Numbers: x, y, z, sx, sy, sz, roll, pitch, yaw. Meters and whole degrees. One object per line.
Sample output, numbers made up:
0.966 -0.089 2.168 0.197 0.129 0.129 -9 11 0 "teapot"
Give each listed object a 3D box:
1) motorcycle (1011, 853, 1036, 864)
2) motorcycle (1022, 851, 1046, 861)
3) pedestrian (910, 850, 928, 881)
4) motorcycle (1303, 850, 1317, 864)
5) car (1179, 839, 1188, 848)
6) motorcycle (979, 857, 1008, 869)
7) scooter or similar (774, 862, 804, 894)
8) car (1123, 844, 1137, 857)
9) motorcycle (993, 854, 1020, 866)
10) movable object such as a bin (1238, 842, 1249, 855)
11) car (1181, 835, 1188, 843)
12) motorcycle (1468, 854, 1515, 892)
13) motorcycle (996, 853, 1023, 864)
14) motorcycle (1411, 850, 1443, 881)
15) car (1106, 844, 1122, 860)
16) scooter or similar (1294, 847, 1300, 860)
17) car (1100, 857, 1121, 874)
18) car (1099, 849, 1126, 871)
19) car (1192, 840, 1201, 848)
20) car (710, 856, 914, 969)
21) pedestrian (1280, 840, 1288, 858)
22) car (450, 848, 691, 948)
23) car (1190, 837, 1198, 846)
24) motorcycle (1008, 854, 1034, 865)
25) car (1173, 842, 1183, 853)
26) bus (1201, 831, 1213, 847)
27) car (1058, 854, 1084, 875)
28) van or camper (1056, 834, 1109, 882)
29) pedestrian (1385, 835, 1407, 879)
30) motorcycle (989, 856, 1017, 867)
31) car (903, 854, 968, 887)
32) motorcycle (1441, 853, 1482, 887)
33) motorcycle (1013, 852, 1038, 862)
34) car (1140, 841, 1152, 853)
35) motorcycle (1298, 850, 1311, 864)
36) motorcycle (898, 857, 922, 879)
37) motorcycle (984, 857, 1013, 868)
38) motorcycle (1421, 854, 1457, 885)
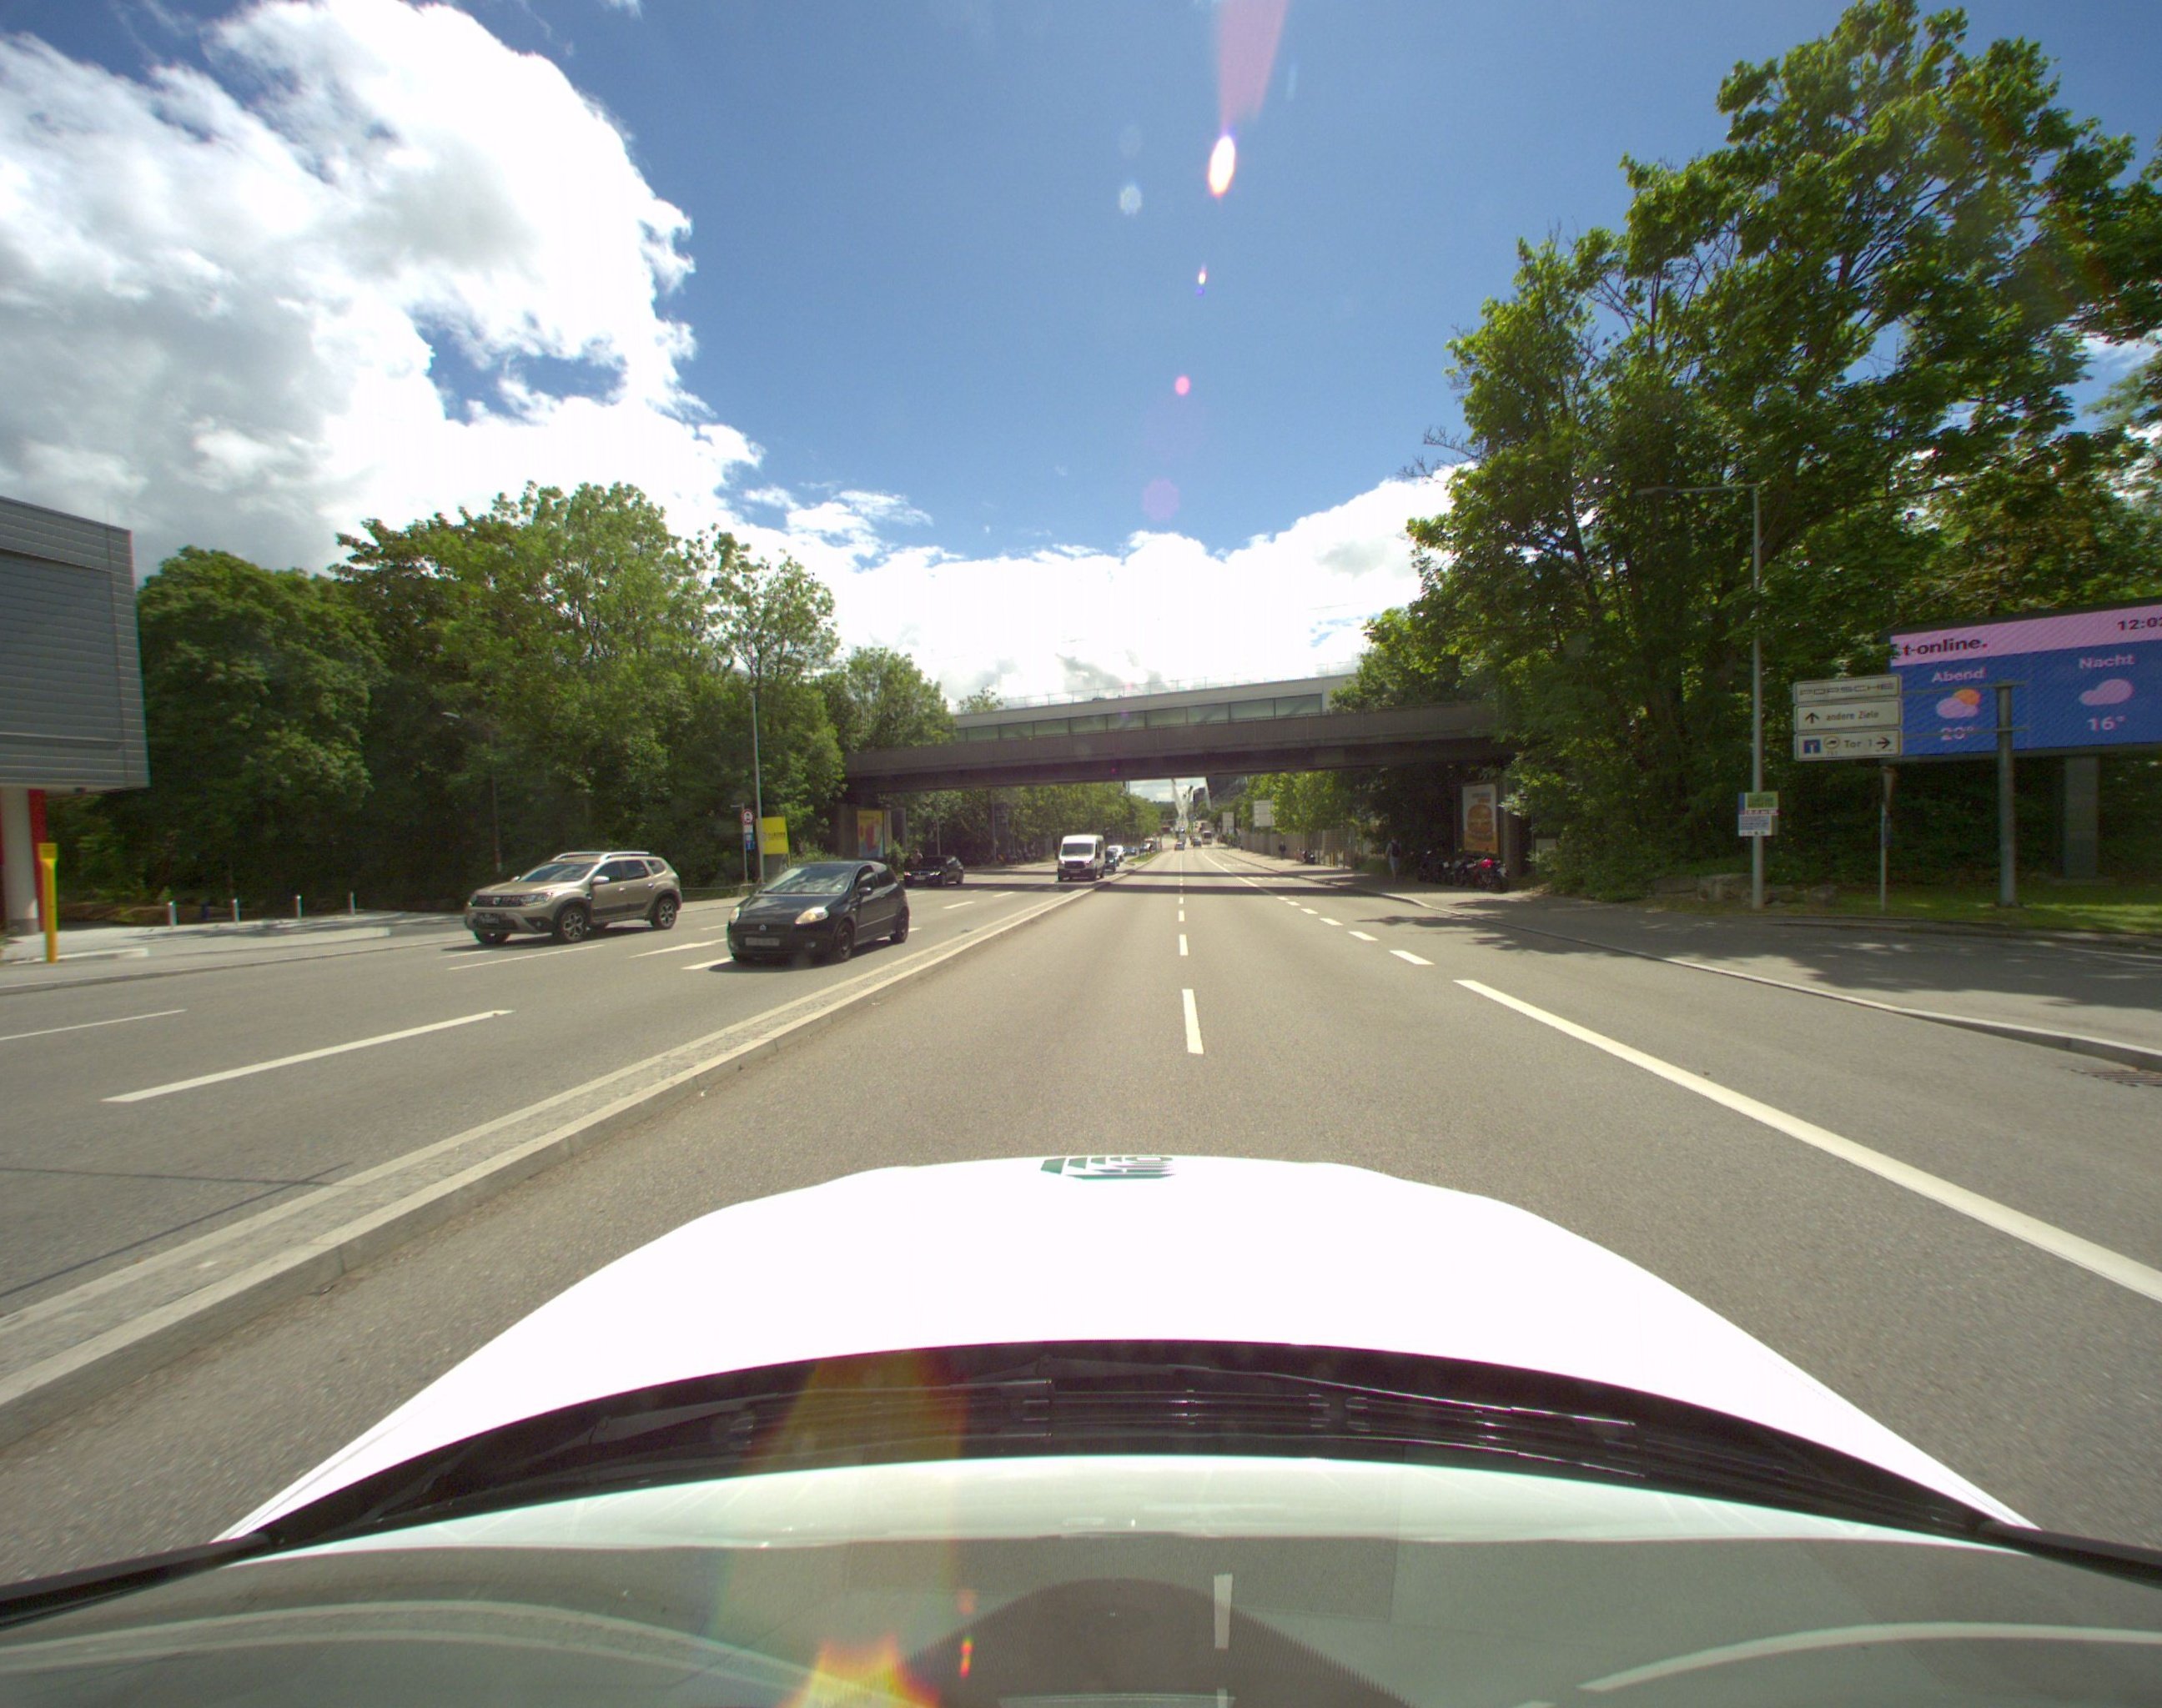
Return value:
-6.140 0.480 86.800 2.556 1.107 0.798 -1 0 18 "motorcycle"
-5.253 0.258 91.566 2.556 1.107 0.798 -1 0 18 "motorcycle"
-8.869 0.607 44.533 0.721 1.622 0.722 3 4 5 "pedestrian"
17.556 0.224 62.450 0.560 1.029 2.634 -3 1 6 "motorcycle"
23.600 -2.432 187.086 1.848 1.705 4.009 -2 6 6 "car"
-8.079 0.809 75.409 2.534 1.050 0.676 -1 0 12 "motorcycle"
-11.738 0.944 32.740 0.608 1.211 1.263 -2 0 6 "scooter or similar"
7.016 -0.511 116.746 1.692 1.698 3.932 -1 0 7 "car"
-7.208 0.592 78.926 2.534 1.050 0.676 -1 0 12 "motorcycle"
27.029 -0.857 135.510 1.653 2.132 1.282 -1 0 12 "movable object such as a bin"
28.938 -4.210 227.868 1.864 2.012 3.701 -2 4 6 "car"
12.814 0.575 25.497 0.544 1.110 2.020 -2 0 4 "motorcycle"
-7.063 0.477 80.336 2.534 1.050 0.676 -1 0 12 "motorcycle"
13.890 0.435 32.726 0.544 1.198 1.905 -2 0 4 "motorcycle"
3.671 -0.201 90.331 1.693 1.698 3.928 -1 0 4 "car"
19.210 -0.046 72.480 0.366 1.177 1.135 -1 0 6 "scooter or similar"
2.686 1.021 73.353 1.693 1.436 3.928 -1 0 4 "car"
2.311 0.420 59.721 1.691 1.521 3.080 -1 0 7 "car"
26.350 -2.333 186.114 1.983 1.859 4.007 -2 0 6 "car"
-4.060 0.811 12.975 1.629 1.471 3.782 -1 1 6 "car"
19.591 -0.502 78.736 0.617 1.618 0.748 -2 4 5 "pedestrian"
-9.892 0.778 16.251 1.721 1.713 4.280 -1 -1 7 "car"
29.103 -3.114 209.238 1.983 2.012 4.010 -1 4 7 "car"
-6.284 0.622 85.036 2.556 1.107 0.798 -1 0 18 "motorcycle"
18.470 -1.296 154.978 1.919 1.771 4.011 -1 4 8 "car"
33.745 -4.065 218.089 2.782 3.751 9.489 -2 4 6 "bus"
-0.738 0.766 63.979 1.693 1.551 3.928 -1 0 4 "car"
0.172 0.197 44.330 1.997 2.401 6.413 -1 0 8 "van or camper"
13.518 0.149 34.978 0.620 1.858 0.873 -2 -1 5 "pedestrian"
-7.478 0.692 77.762 2.534 1.050 0.676 -1 0 12 "motorcycle"
-6.861 0.764 38.937 1.721 1.456 4.567 -1 0 7 "car"
13.074 0.529 28.014 0.544 1.110 2.020 -2 0 4 "motorcycle"
-6.042 0.339 88.565 2.556 1.107 0.798 -1 0 18 "motorcycle"
11.688 -1.302 145.857 1.983 2.013 4.008 -2 0 7 "car"
17.976 0.207 65.476 0.560 1.029 2.634 -3 1 6 "motorcycle"
-9.587 0.801 45.710 0.683 1.210 2.076 0 -2 6 "motorcycle"
-7.770 0.792 76.604 2.534 1.050 0.676 -1 0 12 "motorcycle"
13.306 0.548 30.318 0.544 1.110 2.020 -2 0 4 "motorcycle"
